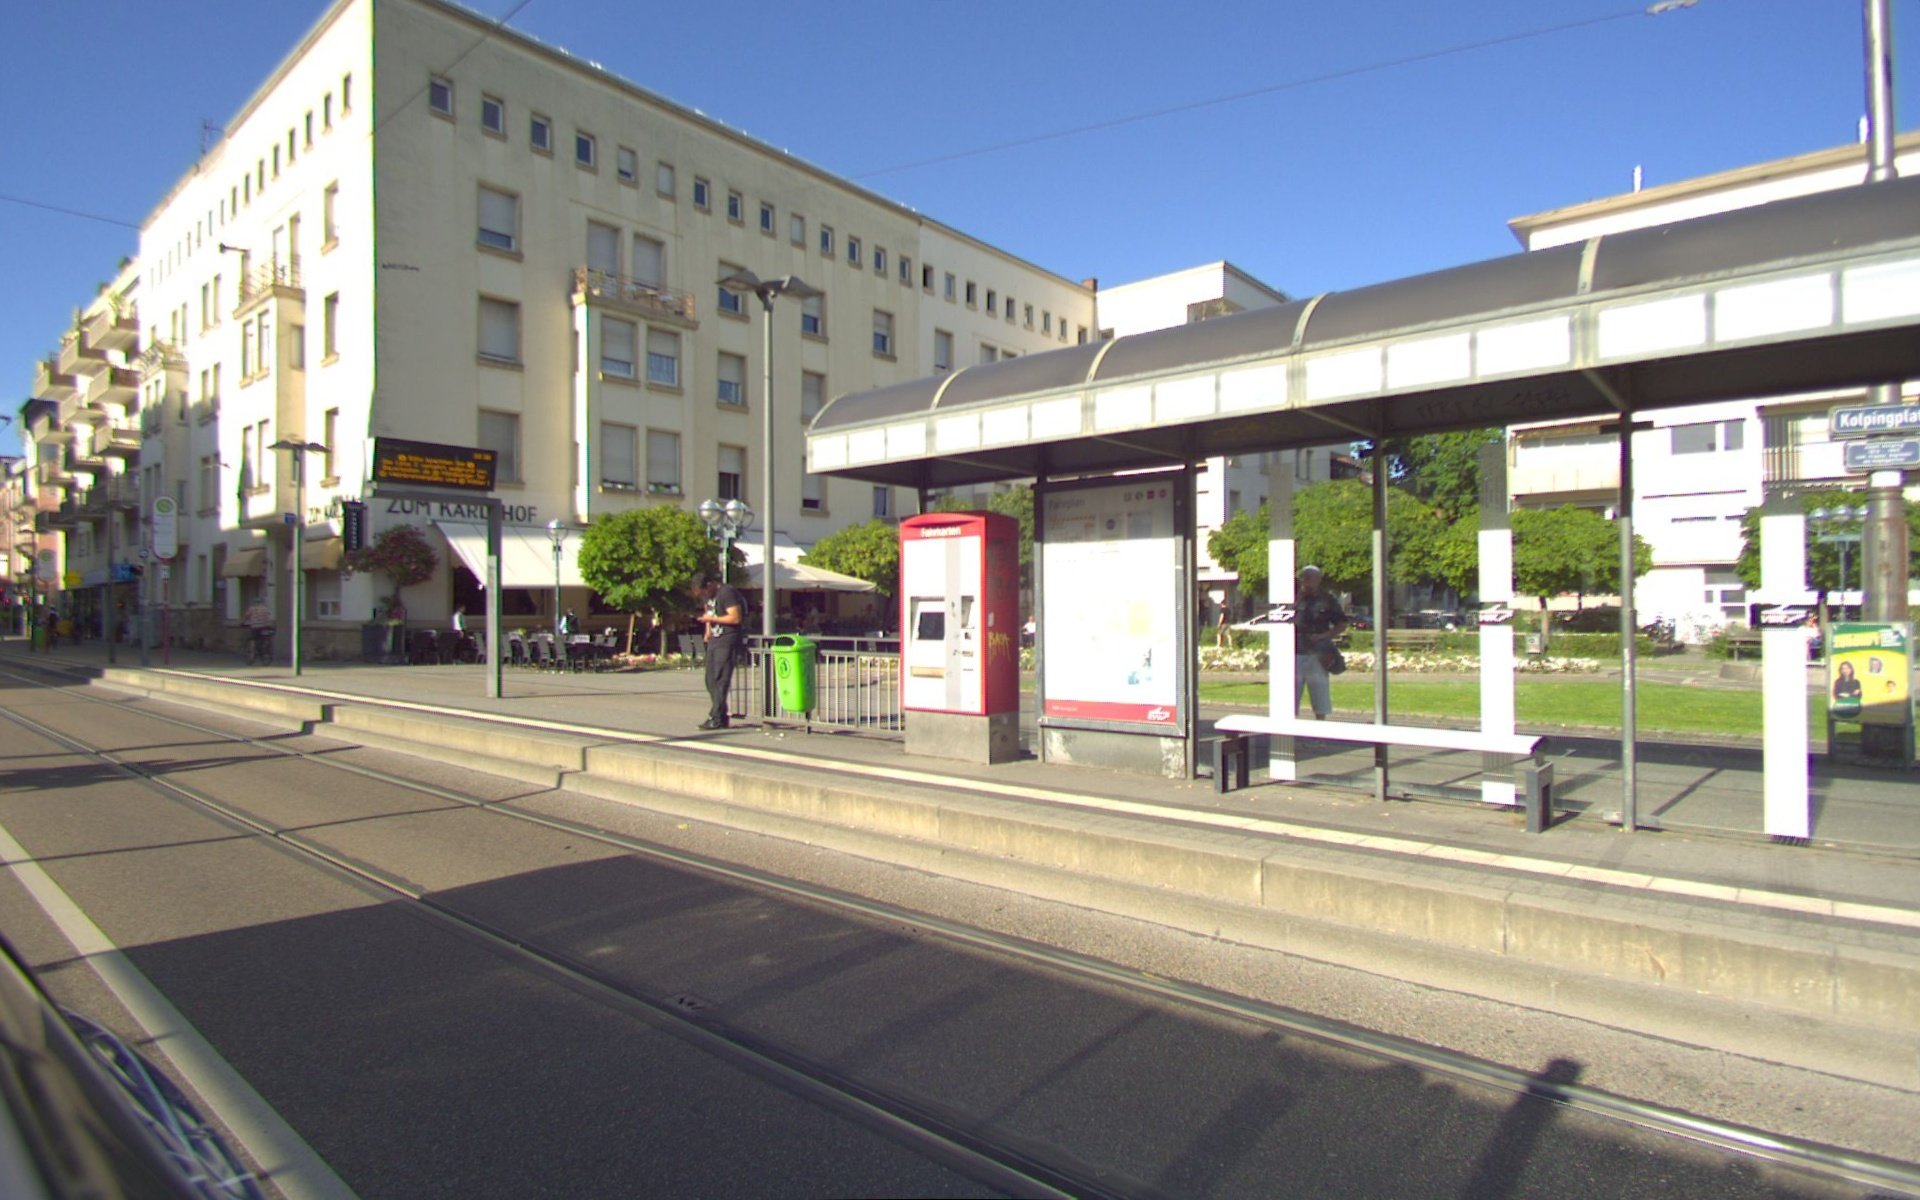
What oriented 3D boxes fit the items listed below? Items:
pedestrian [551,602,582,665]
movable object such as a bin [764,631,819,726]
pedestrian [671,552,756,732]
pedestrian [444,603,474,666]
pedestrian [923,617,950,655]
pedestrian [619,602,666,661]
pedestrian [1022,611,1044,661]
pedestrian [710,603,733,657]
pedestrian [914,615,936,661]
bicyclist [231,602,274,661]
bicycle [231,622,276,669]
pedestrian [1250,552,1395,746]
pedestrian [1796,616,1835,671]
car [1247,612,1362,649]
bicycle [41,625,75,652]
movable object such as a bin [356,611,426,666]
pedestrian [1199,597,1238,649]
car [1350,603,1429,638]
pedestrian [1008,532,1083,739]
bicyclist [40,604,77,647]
[{"bbox_3d":[-10.566,0.912,27.178,0.662,1.657,0.678,-1,-4,-13],"label":"pedestrian"},{"bbox_3d":[-1.597,0.729,9.565,0.416,0.866,0.332,-1,-1,44],"label":"movable object such as a bin"},{"bbox_3d":[-2.475,0.416,10.175,0.607,1.731,0.542,-1,-3,43],"label":"pedestrian"},{"bbox_3d":[-13.537,0.928,27.369,0.662,1.657,0.753,0,-4,-22],"label":"pedestrian"},{"bbox_3d":[-0.824,1.269,35.155,0.672,1.280,0.636,-4,-4,36],"label":"pedestrian"},{"bbox_3d":[-9.237,0.914,29.418,0.755,1.657,1.054,-4,-4,36],"label":"pedestrian"},{"bbox_3d":[2.639,1.314,36.534,0.710,1.750,0.673,-2,-4,1],"label":"pedestrian"},{"bbox_3d":[-8.166,1.017,34.689,0.640,1.837,0.576,0,-1,5],"label":"pedestrian"},{"bbox_3d":[-1.364,1.466,39.274,0.677,1.750,0.671,-3,-4,13],"label":"pedestrian"},{"bbox_3d":[-18.044,0.790,25.805,0.817,1.466,0.878,-1,0,-41],"label":"bicyclist"},{"bbox_3d":[-18.038,1.131,25.815,0.719,1.121,1.979,0,0,-42],"label":"bicycle"},{"bbox_3d":[3.304,0.435,9.334,0.983,1.693,0.974,0,-1,2],"label":"pedestrian"},{"bbox_3d":[21.959,1.103,25.988,0.678,1.370,1.039,-1,-1,36],"label":"pedestrian"},{"bbox_3d":[13.162,1.140,38.746,3.713,1.310,1.973,-1,-1,41],"label":"car"},{"bbox_3d":[-39.094,1.638,43.873,2.032,1.134,0.705,-1,-1,37],"label":"bicycle"},{"bbox_3d":[-15.066,0.990,26.796,1.127,1.410,1.302,-1,-1,40],"label":"movable object such as a bin"},{"bbox_3d":[9.210,0.817,36.064,1.066,1.801,1.177,0,-1,0],"label":"pedestrian"},{"bbox_3d":[19.020,0.910,44.847,2.932,1.497,1.399,-1,-1,41],"label":"car"},{"bbox_3d":[0.803,0.329,9.515,0.526,1.873,0.423,-1,-4,44],"label":"pedestrian"},{"bbox_3d":[-39.073,1.095,43.866,1.093,1.807,0.994,-1,-1,36],"label":"bicyclist"}]
